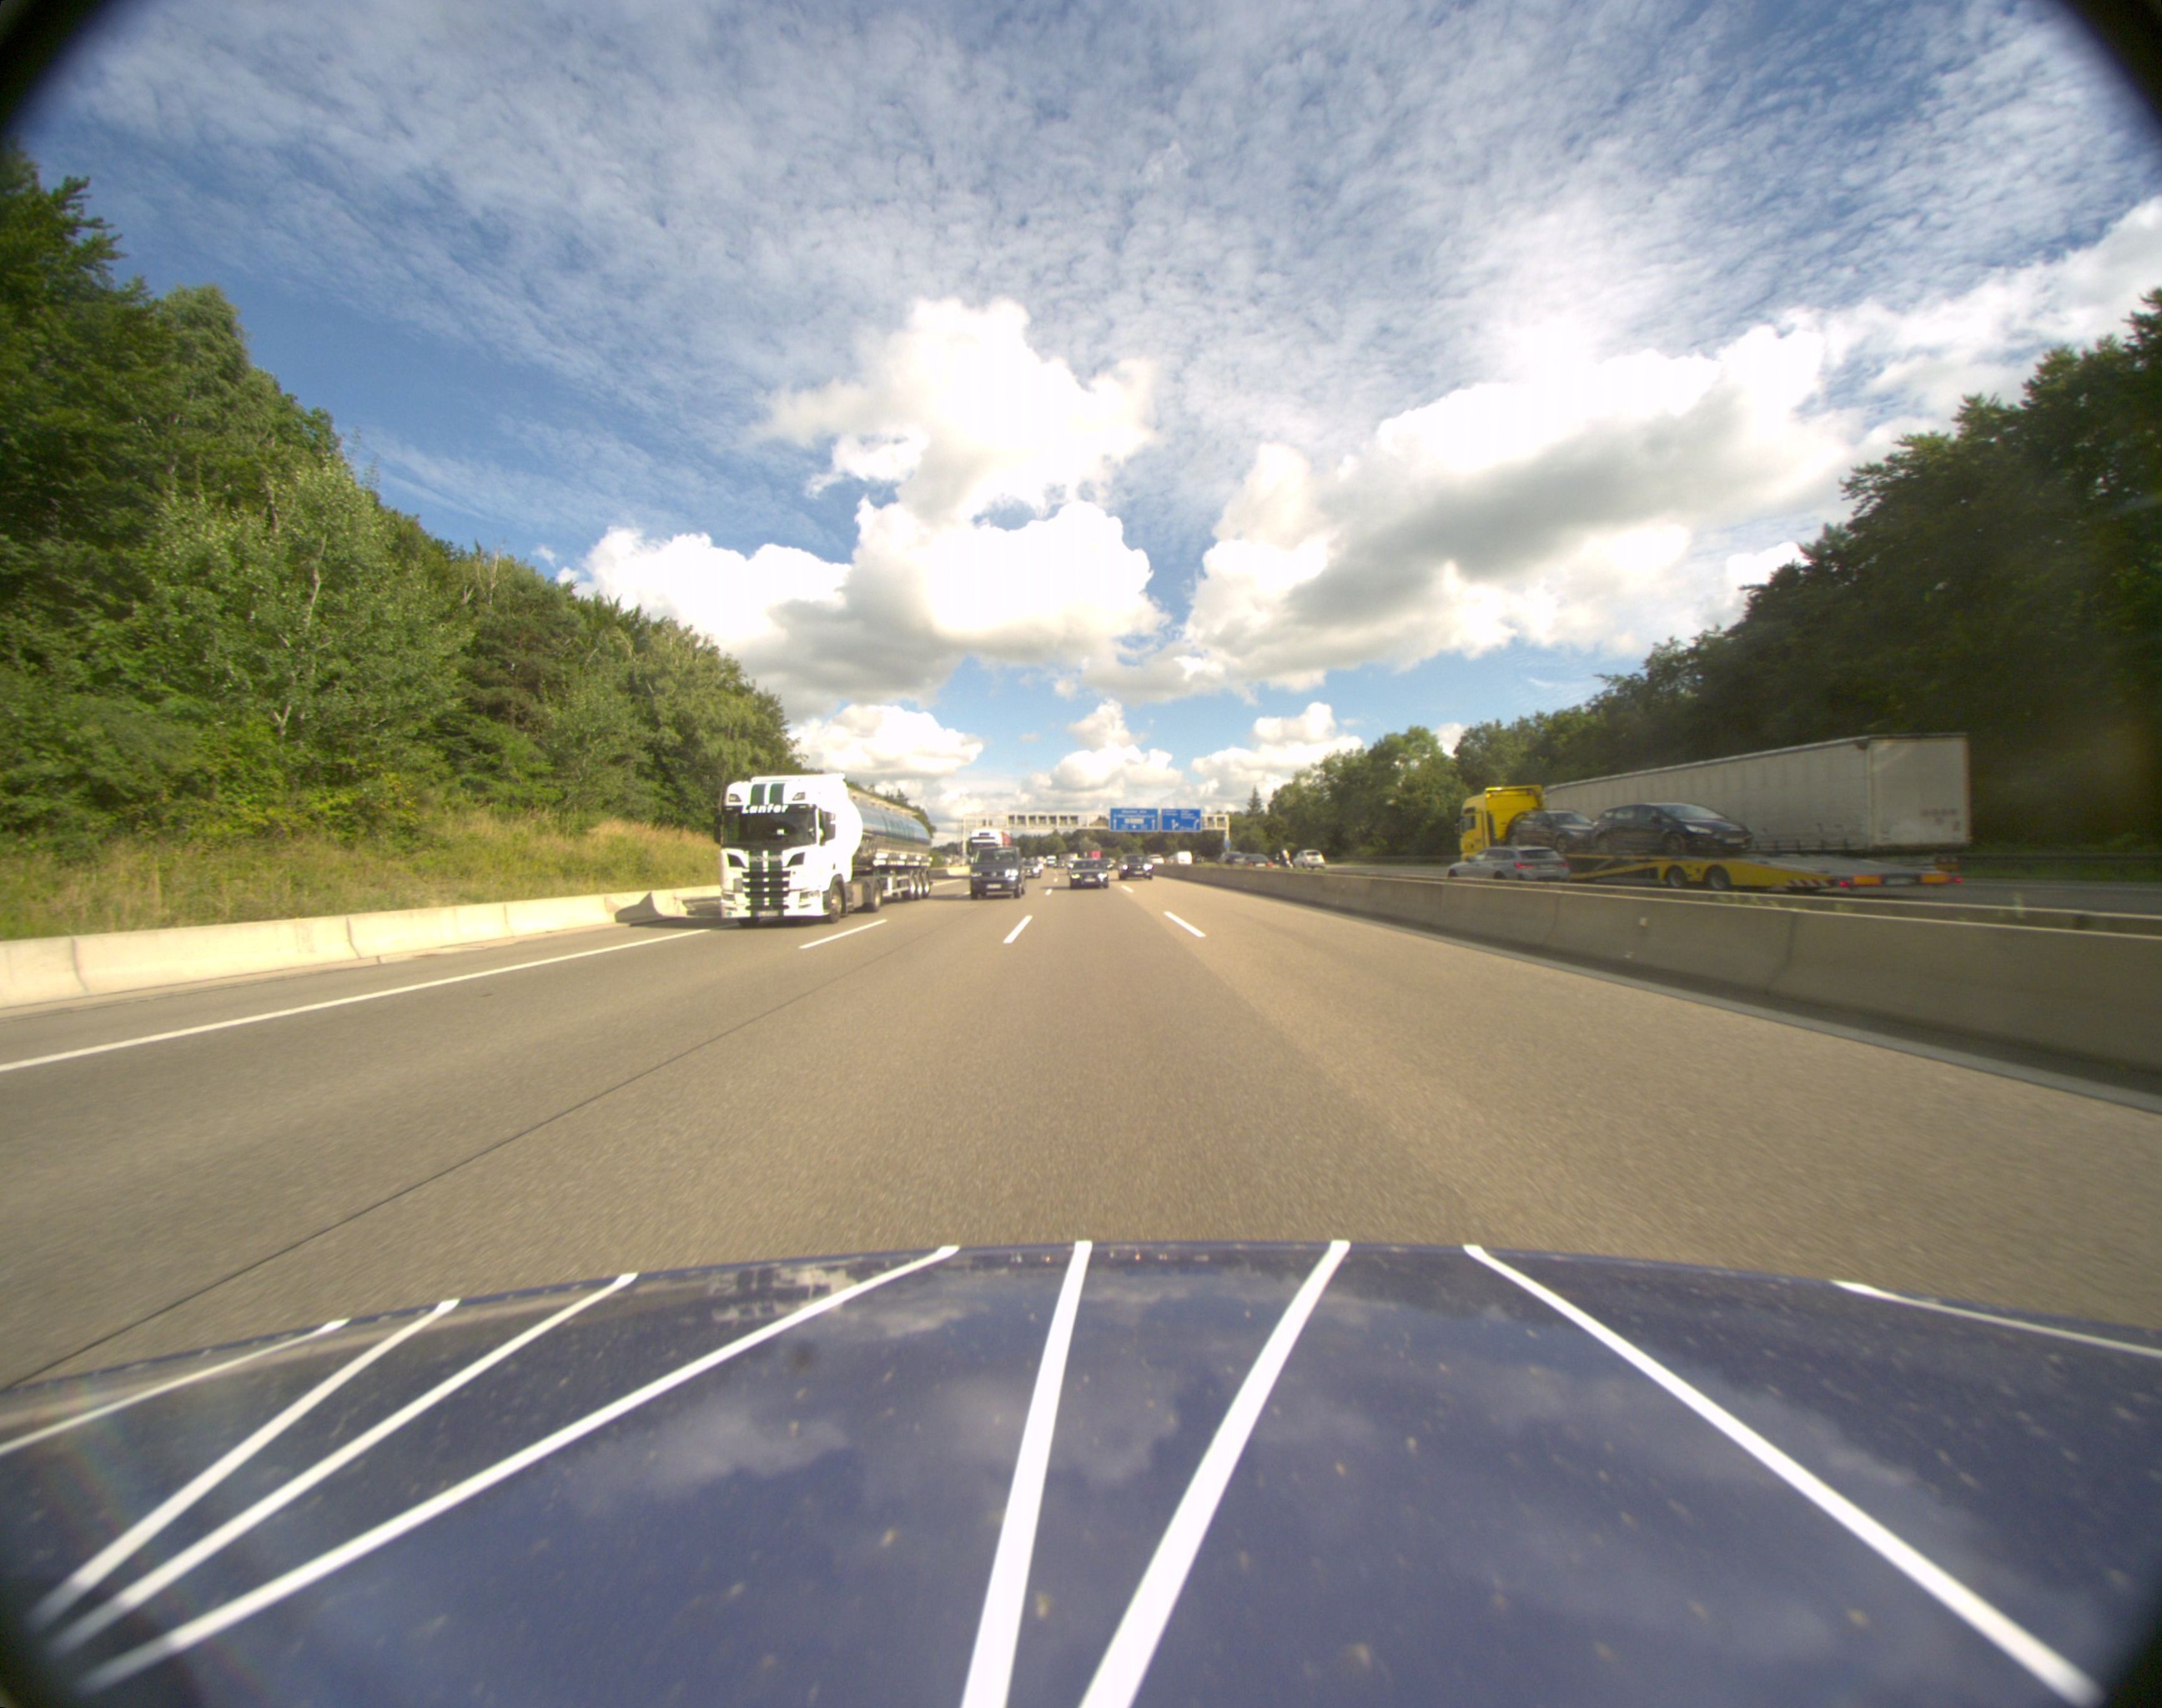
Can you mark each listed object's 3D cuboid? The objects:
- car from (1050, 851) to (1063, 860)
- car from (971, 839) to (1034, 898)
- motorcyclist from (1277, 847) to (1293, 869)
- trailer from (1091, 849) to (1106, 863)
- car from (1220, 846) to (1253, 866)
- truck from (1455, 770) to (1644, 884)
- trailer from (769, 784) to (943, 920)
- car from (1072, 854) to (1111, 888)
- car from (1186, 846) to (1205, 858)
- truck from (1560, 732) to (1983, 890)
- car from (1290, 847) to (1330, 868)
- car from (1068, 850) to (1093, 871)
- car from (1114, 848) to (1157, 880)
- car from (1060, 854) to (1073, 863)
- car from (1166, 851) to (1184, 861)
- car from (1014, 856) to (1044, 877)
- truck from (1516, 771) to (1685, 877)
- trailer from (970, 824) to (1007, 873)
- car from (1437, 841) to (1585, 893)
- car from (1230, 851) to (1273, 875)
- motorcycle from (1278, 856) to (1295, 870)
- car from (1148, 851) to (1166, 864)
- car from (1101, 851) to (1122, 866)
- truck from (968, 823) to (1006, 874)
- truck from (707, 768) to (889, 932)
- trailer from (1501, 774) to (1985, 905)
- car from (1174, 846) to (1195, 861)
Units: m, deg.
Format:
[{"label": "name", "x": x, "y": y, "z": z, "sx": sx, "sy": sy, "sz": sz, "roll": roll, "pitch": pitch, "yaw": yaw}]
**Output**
[{"label": "car", "x": -5.360, "y": 0.316, "z": 164.880, "sx": 2.154, "sy": 1.806, "sz": 4.673, "roll": -2, "pitch": 0, "yaw": -9}, {"label": "car", "x": -3.028, "y": 0.532, "z": 30.384, "sx": 1.853, "sy": 2.097, "sz": 4.932, "roll": -2, "pitch": 0, "yaw": 1}, {"label": "motorcyclist", "x": 13.979, "y": 0.283, "z": 52.046, "sx": 0.756, "sy": 1.468, "sz": 1.075, "roll": -2, "pitch": 1, "yaw": -1}, {"label": "trailer", "x": 5.114, "y": 0.552, "z": 224.461, "sx": 2.747, "sy": 4.082, "sz": 13.409, "roll": -2, "pitch": 0, "yaw": -6}, {"label": "car", "x": 13.650, "y": 0.168, "z": 67.106, "sx": 1.998, "sy": 1.677, "sz": 4.679, "roll": -2, "pitch": 0, "yaw": 1}, {"label": "truck", "x": 17.659, "y": -0.937, "z": 29.358, "sx": 2.784, "sy": 3.788, "sz": 7.133, "roll": -2, "pitch": 0, "yaw": -1}, {"label": "trailer", "x": -7.381, "y": -0.017, "z": 27.236, "sx": 2.655, "sy": 3.745, "sz": 11.860, "roll": -1, "pitch": 0, "yaw": 0}, {"label": "car", "x": 0.482, "y": 0.775, "z": 37.064, "sx": 1.733, "sy": 1.501, "sz": 4.727, "roll": -2, "pitch": 0, "yaw": 0}, {"label": "car", "x": 18.762, "y": -0.334, "z": 124.561, "sx": 2.077, "sy": 1.729, "sz": 4.669, "roll": -2, "pitch": 0, "yaw": -3}, {"label": "truck", "x": 22.254, "y": -1.156, "z": 26.471, "sx": 2.713, "sy": 4.045, "sz": 13.086, "roll": -2, "pitch": 0, "yaw": 0}, {"label": "car", "x": 17.594, "y": 0.240, "z": 58.538, "sx": 1.852, "sy": 1.489, "sz": 4.129, "roll": -2, "pitch": 0, "yaw": 1}, {"label": "car", "x": -0.048, "y": 0.614, "z": 70.049, "sx": 2.153, "sy": 1.800, "sz": 5.098, "roll": -2, "pitch": 0, "yaw": -1}, {"label": "car", "x": 3.348, "y": 0.590, "z": 47.533, "sx": 2.153, "sy": 1.800, "sz": 5.098, "roll": -2, "pitch": 0, "yaw": -1}, {"label": "car", "x": -2.574, "y": 0.835, "z": 132.425, "sx": 2.153, "sy": 1.540, "sz": 4.677, "roll": -2, "pitch": 0, "yaw": -1}, {"label": "car", "x": 14.713, "y": 0.305, "z": 119.110, "sx": 2.077, "sy": 1.464, "sz": 4.669, "roll": -2, "pitch": 0, "yaw": -3}, {"label": "car", "x": -4.009, "y": 0.948, "z": 59.641, "sx": 2.153, "sy": 1.426, "sz": 5.097, "roll": -2, "pitch": 0, "yaw": -3}, {"label": "truck", "x": 22.210, "y": -1.195, "z": 32.999, "sx": 2.713, "sy": 4.045, "sz": 6.597, "roll": -2, "pitch": 0, "yaw": 0}, {"label": "trailer", "x": -8.405, "y": -0.396, "z": 70.554, "sx": 2.782, "sy": 4.021, "sz": 13.708, "roll": -2, "pitch": 0, "yaw": -5}, {"label": "car", "x": 13.956, "y": 0.379, "z": 25.088, "sx": 1.999, "sy": 1.477, "sz": 4.982, "roll": -2, "pitch": 0, "yaw": -1}, {"label": "car", "x": 10.184, "y": 0.516, "z": 45.700, "sx": 1.688, "sy": 1.299, "sz": 4.198, "roll": -2, "pitch": 0, "yaw": 1}, {"label": "motorcycle", "x": 14.058, "y": 0.595, "z": 52.012, "sx": 0.483, "sy": 0.950, "sz": 2.251, "roll": -2, "pitch": 0, "yaw": 0}, {"label": "car", "x": 8.934, "y": 0.378, "z": 89.855, "sx": 1.758, "sy": 1.499, "sz": 4.680, "roll": -2, "pitch": 0, "yaw": 1}, {"label": "car", "x": 3.397, "y": 0.480, "z": 85.677, "sx": 2.153, "sy": 1.540, "sz": 4.676, "roll": -2, "pitch": 0, "yaw": 0}, {"label": "truck", "x": -7.840, "y": -0.441, "z": 63.811, "sx": 2.782, "sy": 4.021, "sz": 5.771, "roll": -2, "pitch": 0, "yaw": -5}, {"label": "truck", "x": -7.395, "y": -0.079, "z": 20.834, "sx": 2.655, "sy": 3.800, "sz": 6.082, "roll": -1, "pitch": 0, "yaw": 0}, {"label": "trailer", "x": 17.759, "y": -0.331, "z": 22.799, "sx": 2.784, "sy": 2.704, "sz": 13.310, "roll": -2, "pitch": 0, "yaw": -1}, {"label": "car", "x": 12.991, "y": -0.039, "z": 95.627, "sx": 1.998, "sy": 1.826, "sz": 4.729, "roll": -2, "pitch": 0, "yaw": 1}]
